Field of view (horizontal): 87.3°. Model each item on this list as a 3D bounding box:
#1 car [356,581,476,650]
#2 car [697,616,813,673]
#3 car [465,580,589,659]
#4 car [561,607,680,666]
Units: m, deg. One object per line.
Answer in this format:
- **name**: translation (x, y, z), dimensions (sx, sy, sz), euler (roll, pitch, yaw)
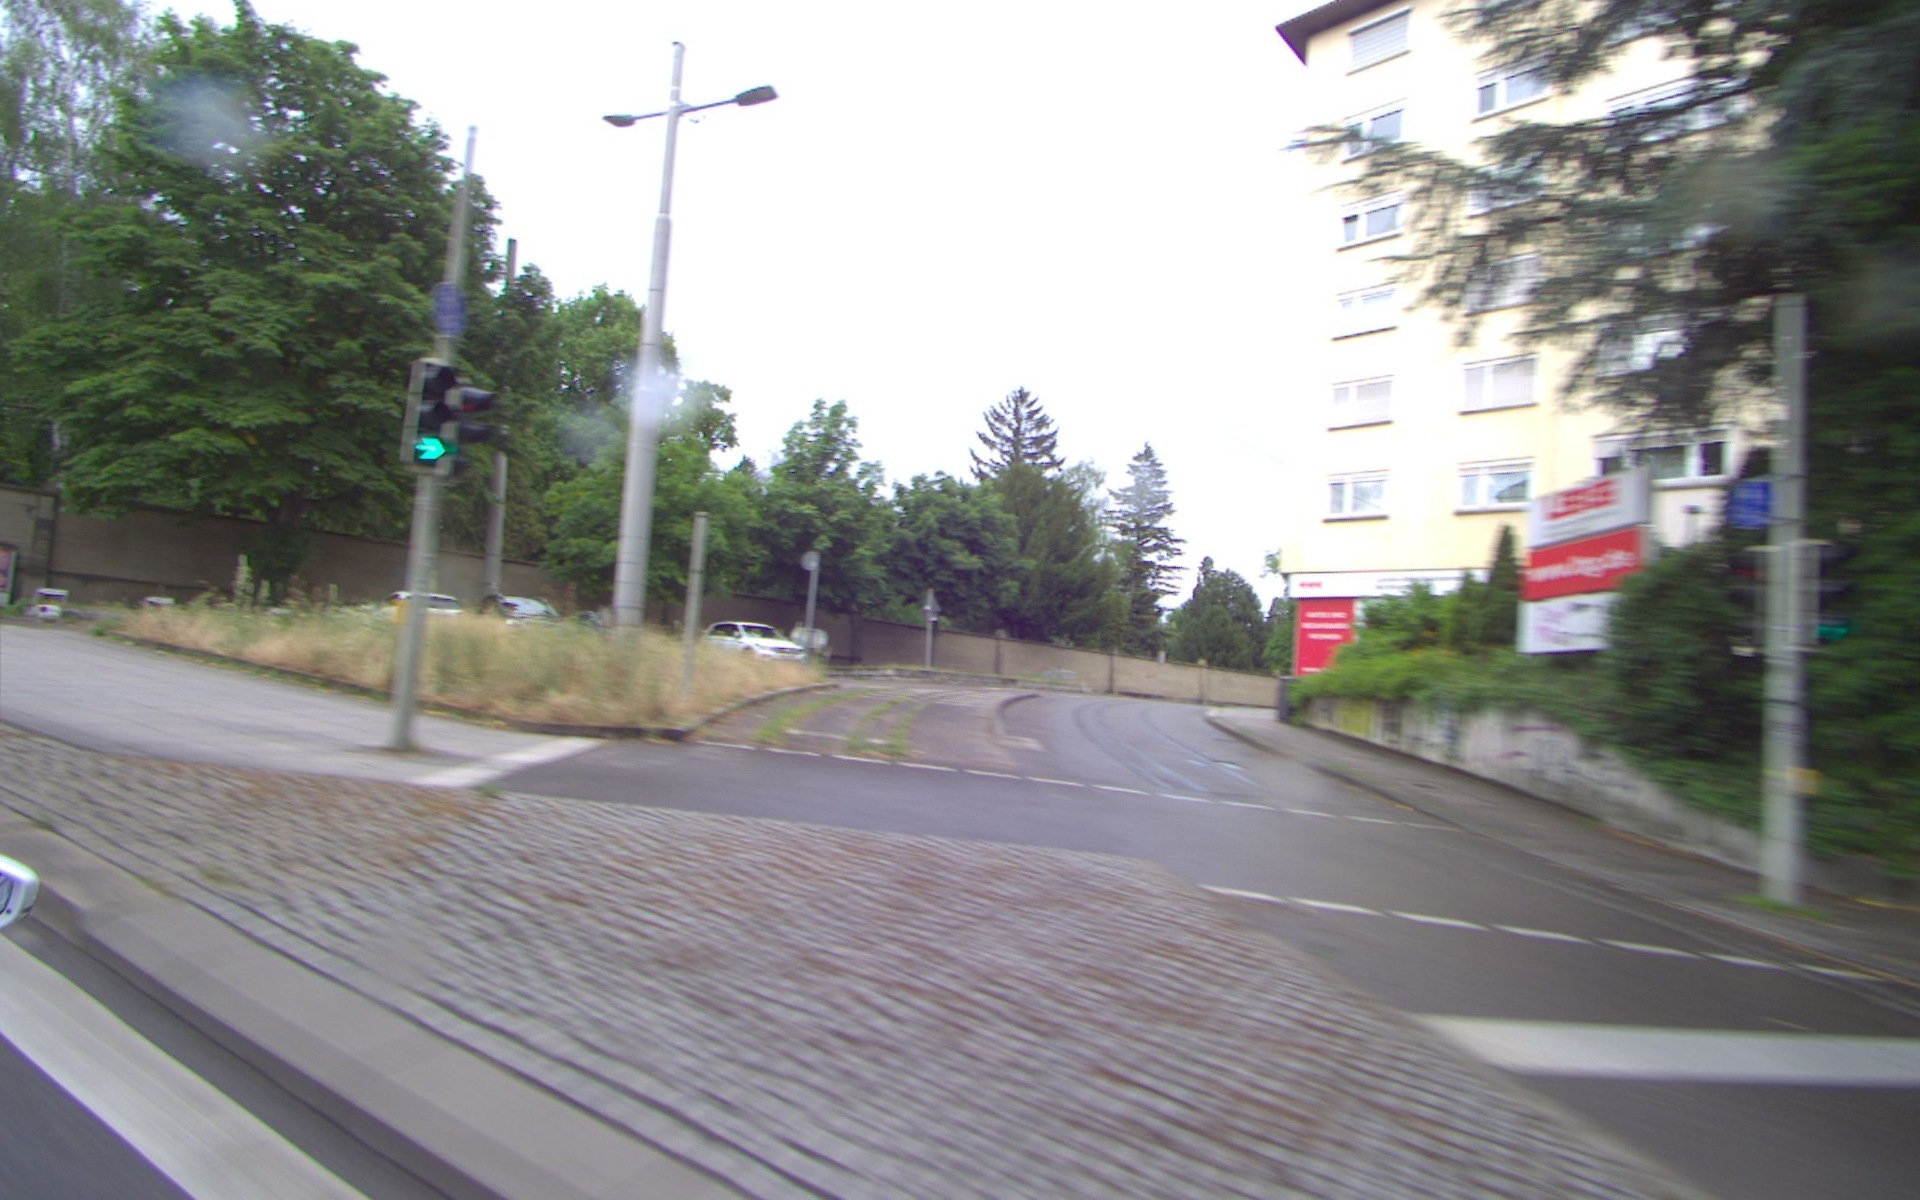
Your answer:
- **car**: translation (-13.622, 0.387, 25.086), dimensions (1.746, 1.421, 3.959), euler (8, -5, -40)
- **car**: translation (-6.557, 1.395, 31.898), dimensions (1.776, 1.573, 4.178), euler (7, -5, -40)
- **car**: translation (-11.650, 0.519, 26.903), dimensions (1.746, 1.823, 4.230), euler (8, -5, -40)
- **car**: translation (-9.592, 0.999, 28.270), dimensions (1.776, 1.406, 3.960), euler (8, -5, -40)
